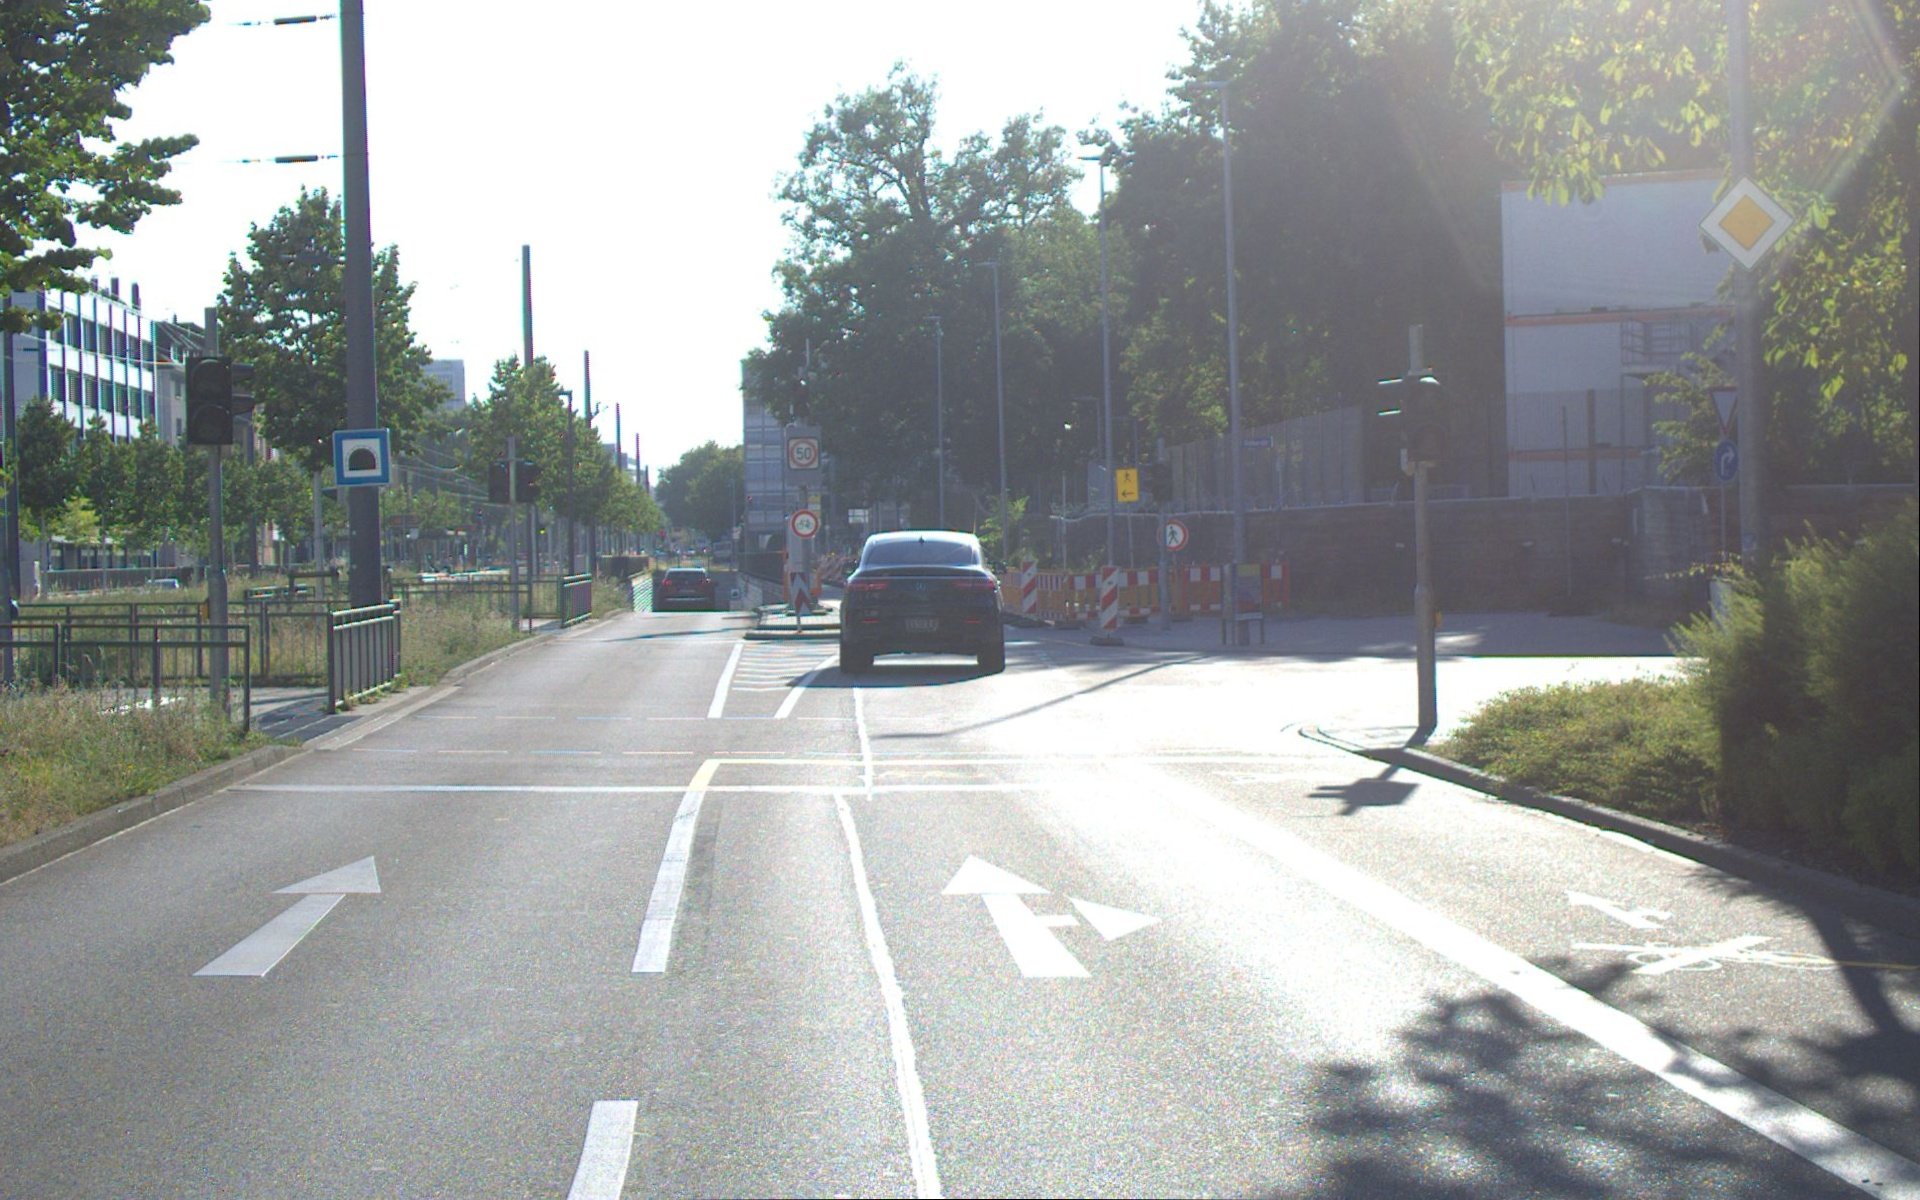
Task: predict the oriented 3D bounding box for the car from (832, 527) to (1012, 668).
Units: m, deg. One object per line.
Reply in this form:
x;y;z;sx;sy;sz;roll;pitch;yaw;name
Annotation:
-0.520;-0.039;42.842;2.005;1.653;4.001;1;0;-4;car

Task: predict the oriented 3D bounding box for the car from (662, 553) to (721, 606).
-8.649;-0.660;110.832;1.826;1.653;4.001;1;0;-4;car
